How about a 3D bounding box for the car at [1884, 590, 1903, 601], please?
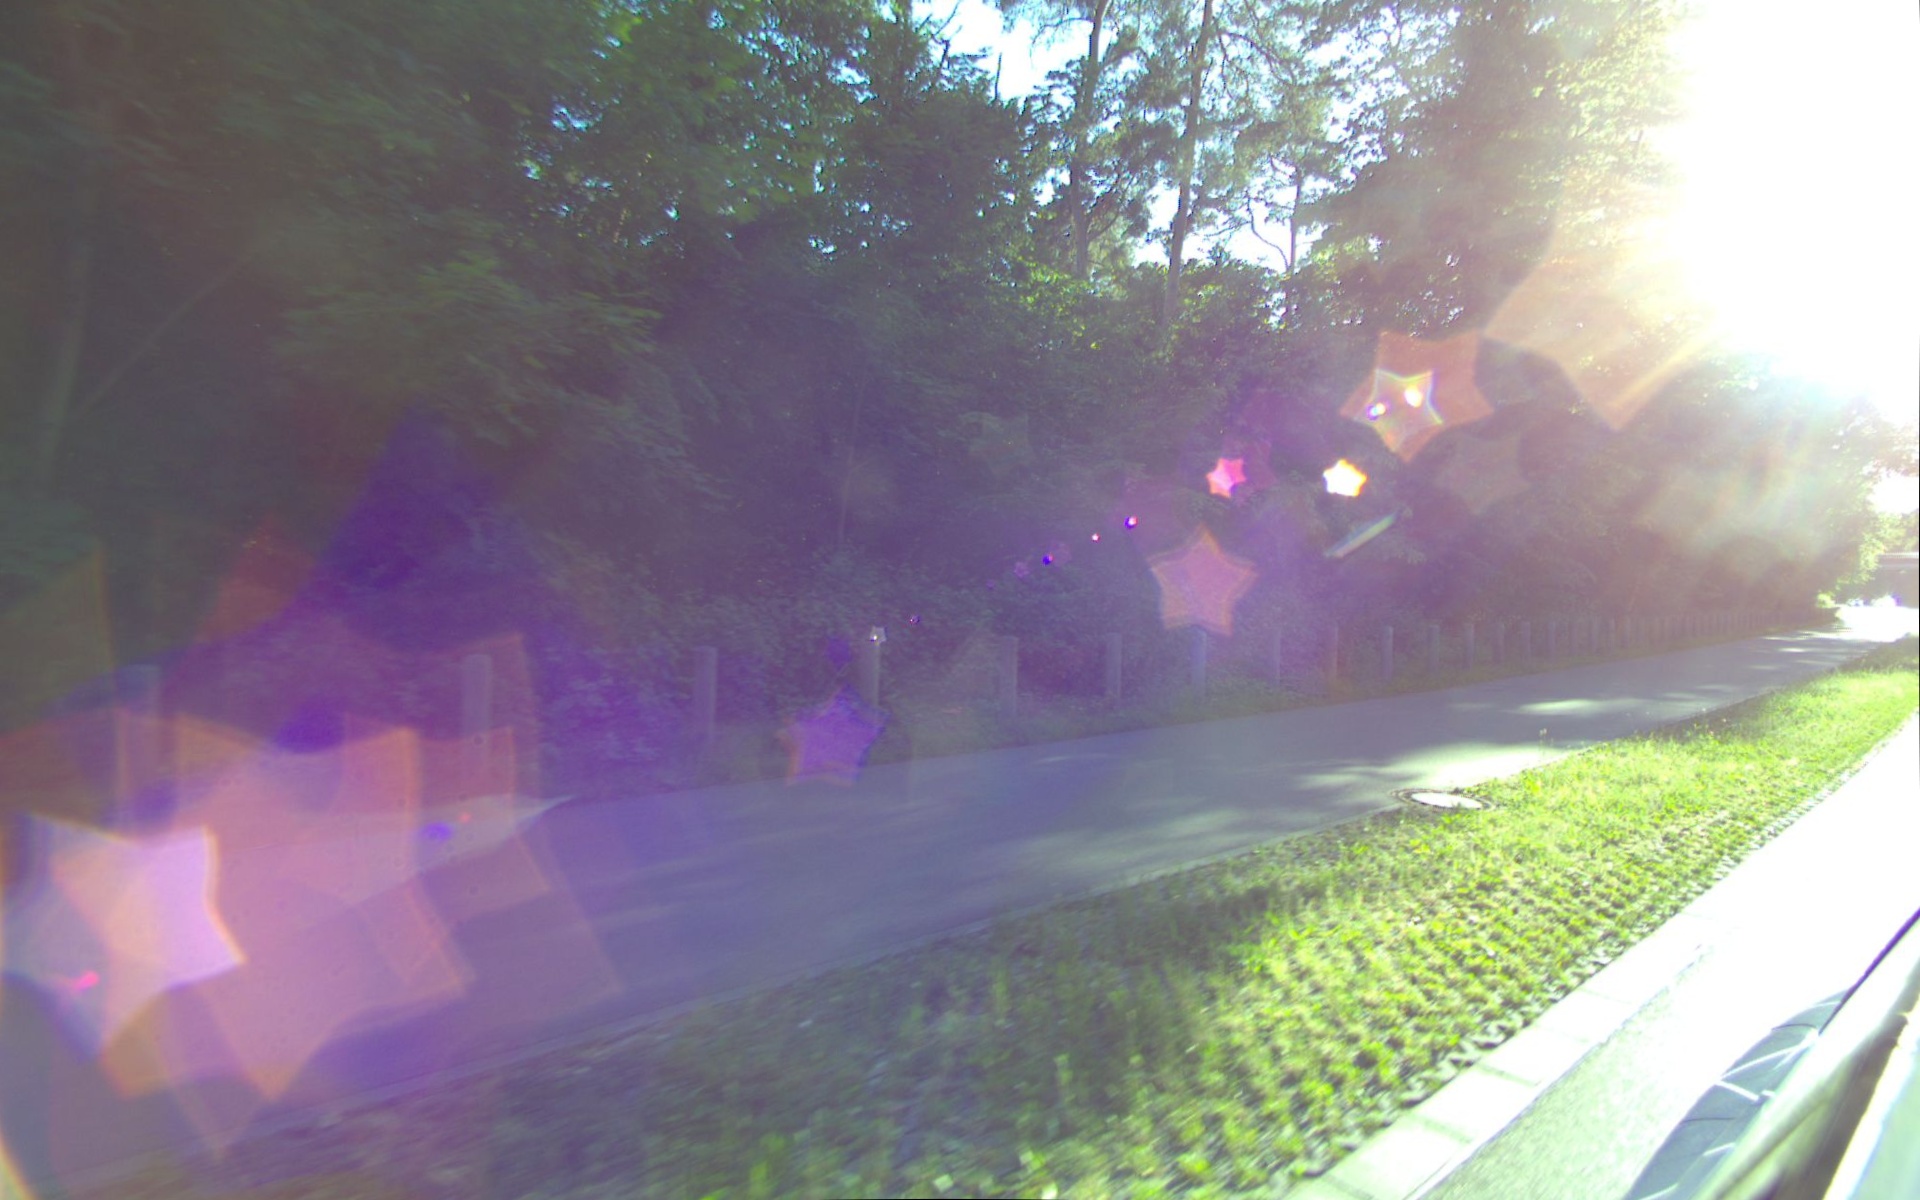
[{"bbox_3d":[157.356,-0.752,170.640,1.816,1.705,3.950,2,1,35],"label":"car"}]
